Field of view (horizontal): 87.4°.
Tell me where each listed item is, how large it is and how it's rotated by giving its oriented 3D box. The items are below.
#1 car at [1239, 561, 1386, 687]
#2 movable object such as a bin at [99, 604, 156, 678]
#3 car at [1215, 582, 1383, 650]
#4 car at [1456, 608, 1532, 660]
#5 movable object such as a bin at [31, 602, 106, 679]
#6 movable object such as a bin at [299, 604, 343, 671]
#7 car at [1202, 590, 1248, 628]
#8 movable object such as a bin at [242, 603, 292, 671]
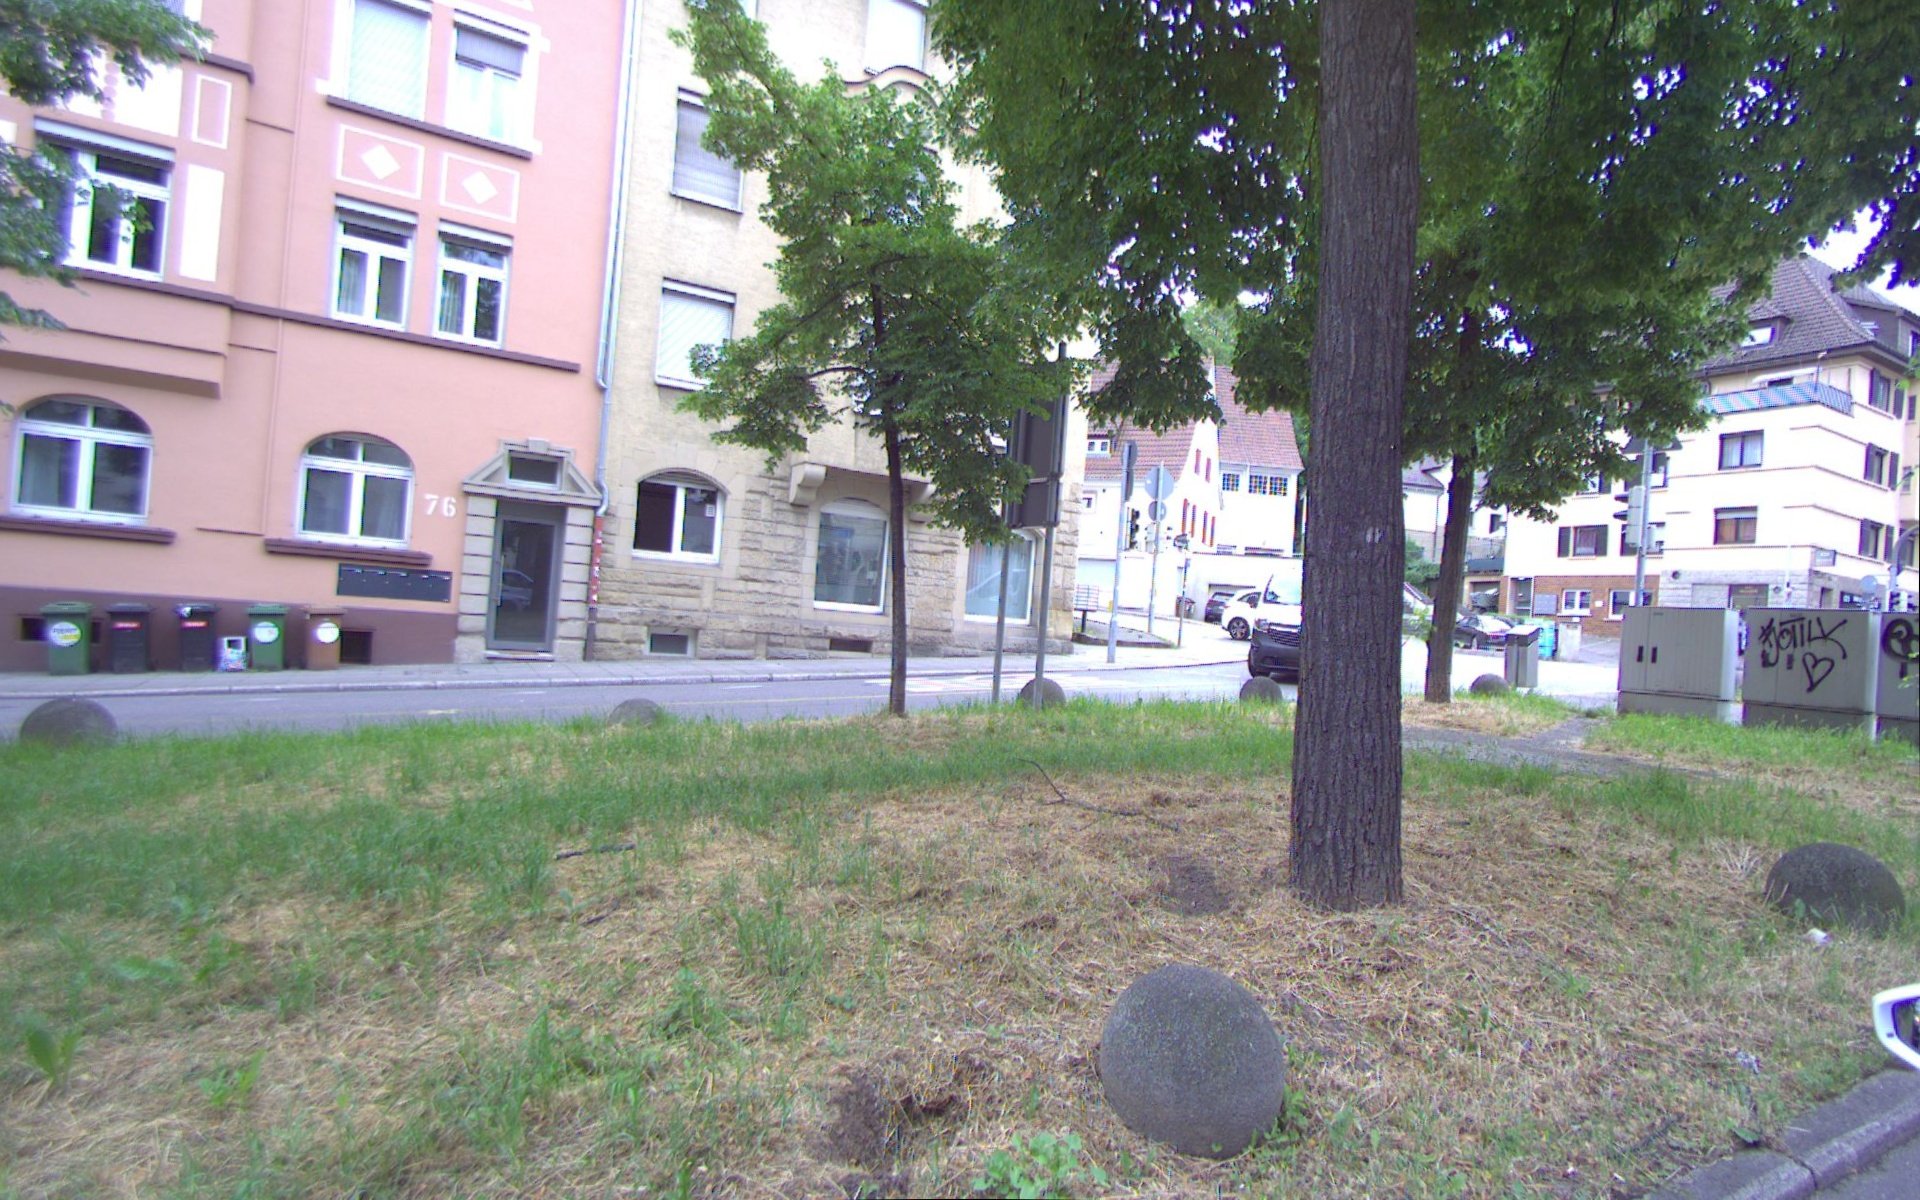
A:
[{"bbox_3d":[6.677,0.366,18.617,1.962,1.971,5.301,2,1,26],"label":"car"},{"bbox_3d":[-11.157,0.541,13.479,0.528,0.958,0.576,2,0,-36],"label":"movable object such as a bin"},{"bbox_3d":[9.686,0.416,28.912,4.202,1.615,1.682,5,2,42],"label":"car"},{"bbox_3d":[21.758,1.334,41.076,1.832,1.619,3.519,2,6,13],"label":"car"},{"bbox_3d":[-11.652,0.525,13.146,0.611,0.961,0.613,2,0,-31],"label":"movable object such as a bin"},{"bbox_3d":[-9.275,0.535,14.571,0.510,0.934,0.752,2,0,-34],"label":"movable object such as a bin"},{"bbox_3d":[11.766,0.372,44.804,1.638,1.424,3.058,7,3,11],"label":"car"},{"bbox_3d":[-9.810,0.517,14.241,0.554,0.934,0.649,2,0,-34],"label":"movable object such as a bin"}]
